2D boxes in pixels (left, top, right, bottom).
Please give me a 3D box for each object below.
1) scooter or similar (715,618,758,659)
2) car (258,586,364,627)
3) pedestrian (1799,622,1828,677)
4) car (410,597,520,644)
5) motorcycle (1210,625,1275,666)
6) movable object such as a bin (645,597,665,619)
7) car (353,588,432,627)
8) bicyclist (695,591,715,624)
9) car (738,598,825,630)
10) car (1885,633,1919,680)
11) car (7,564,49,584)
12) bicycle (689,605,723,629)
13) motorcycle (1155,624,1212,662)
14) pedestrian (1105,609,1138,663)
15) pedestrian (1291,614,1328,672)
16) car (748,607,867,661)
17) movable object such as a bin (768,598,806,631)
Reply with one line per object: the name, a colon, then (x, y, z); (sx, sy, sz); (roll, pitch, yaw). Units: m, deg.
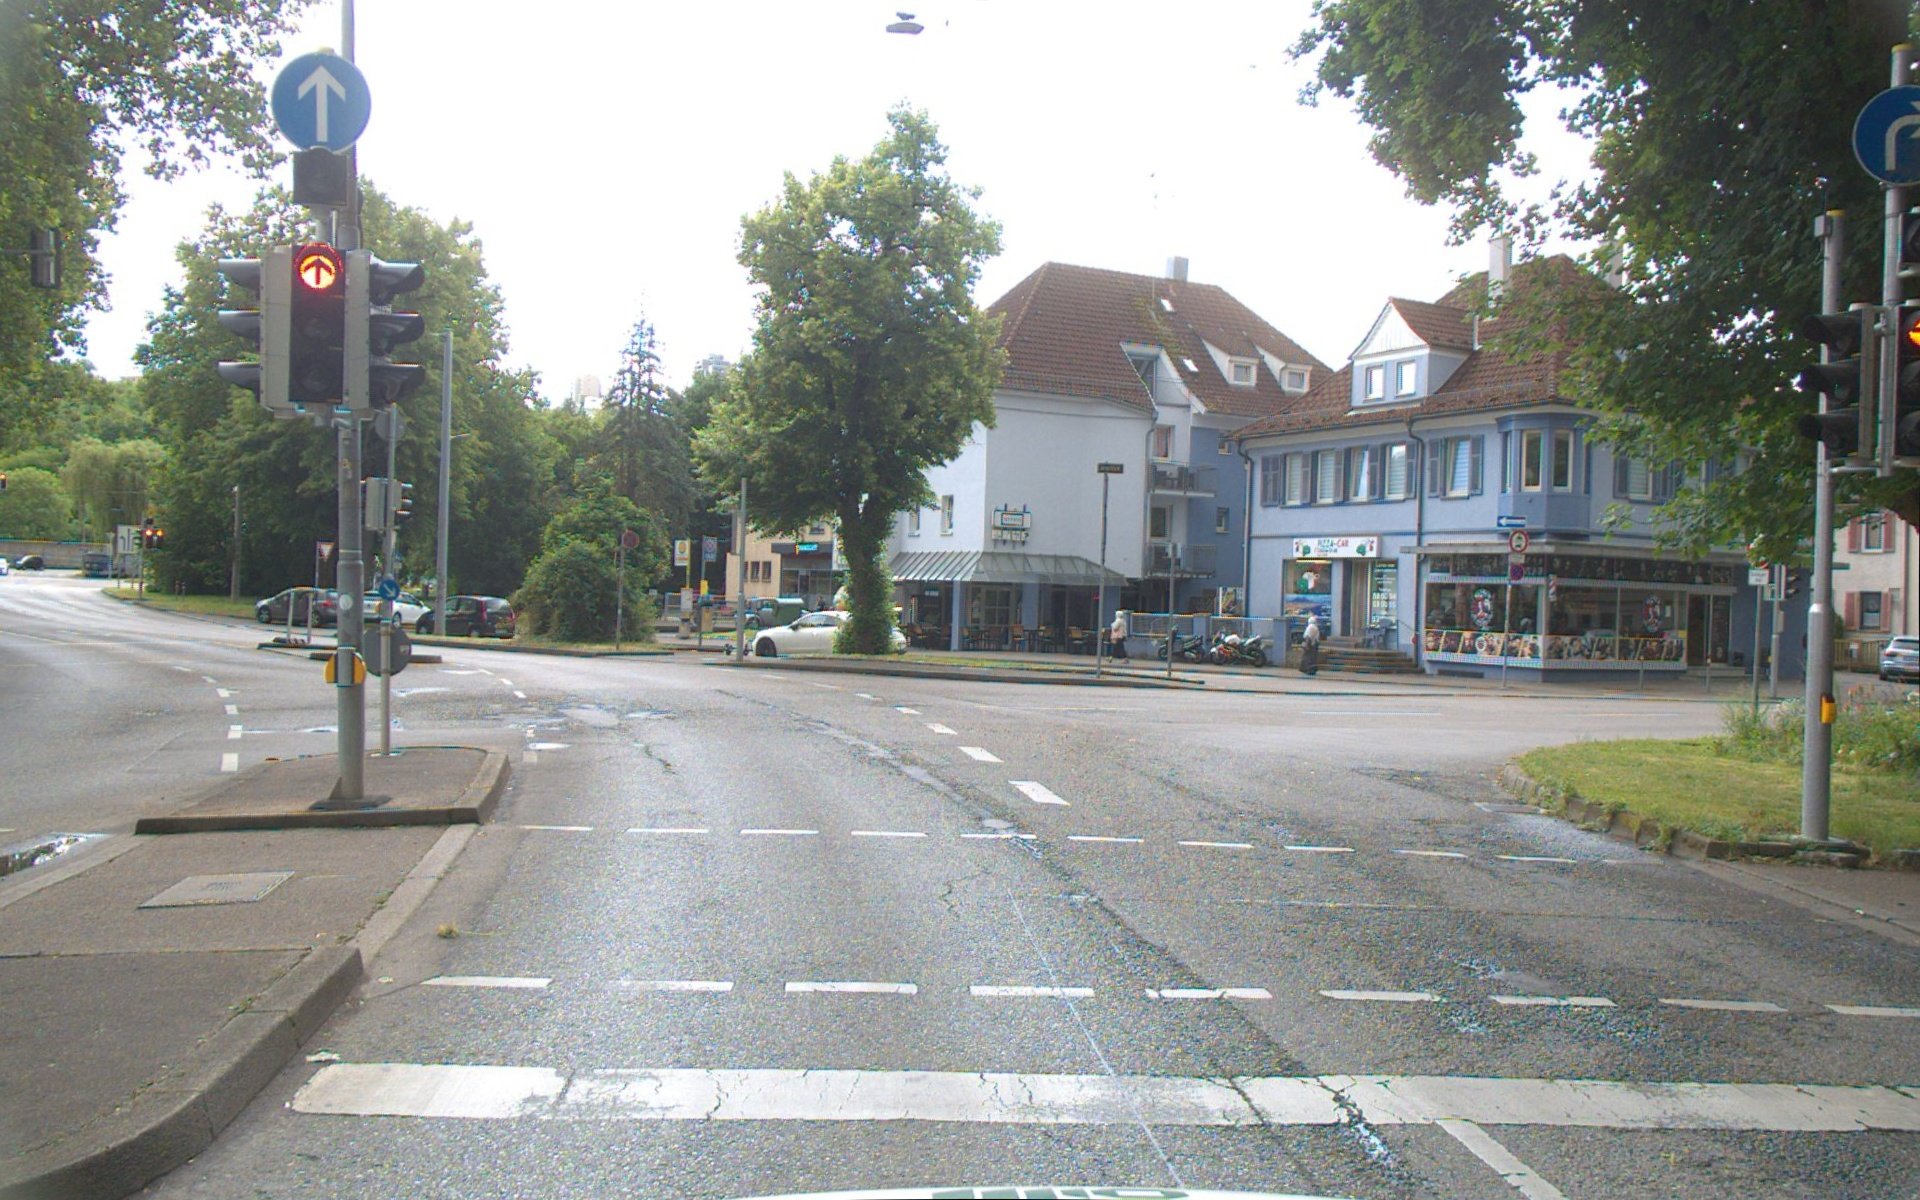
scooter or similar: (-5.731, 0.987, 42.532); (0.408, 1.029, 1.567); (1, 0, 20)
car: (-24.860, 0.251, 63.383); (3.469, 1.490, 1.586); (1, 0, 12)
pedestrian: (24.218, 1.404, 46.920); (0.451, 1.544, 0.584); (1, -1, -21)
car: (-16.008, 0.665, 53.452); (3.519, 1.418, 1.468); (1, 0, 32)
motorcycle: (8.272, 1.315, 48.471); (1.765, 1.141, 0.692); (1, 0, 38)
movable object such as a bin: (-15.855, 0.404, 85.904); (0.937, 1.135, 0.381); (1, 0, -22)
car: (-22.670, 0.313, 66.174); (1.512, 1.490, 3.398); (1, 0, 10)
bicyclist: (-12.232, 0.380, 79.446); (0.589, 1.568, 0.735); (1, 0, 42)
car: (-8.160, 0.649, 75.722); (3.690, 1.368, 1.421); (1, 0, -27)
car: (29.851, 1.743, 51.405); (1.471, 1.393, 3.164); (1, 0, 38)
car: (-102.220, -2.810, 181.478); (3.948, 2.049, 1.978); (1, 0, -32)
bicycle: (-12.195, 0.840, 79.497); (0.593, 1.131, 1.571); (1, 0, 42)
motorcycle: (6.791, 1.298, 50.227); (1.609, 1.082, 0.690); (1, 0, 44)
pedestrian: (4.832, 1.081, 49.531); (0.694, 1.572, 0.675); (1, 0, 39)
pedestrian: (9.679, 1.175, 45.825); (0.754, 1.572, 0.675); (1, -1, 38)
car: (-4.245, 0.922, 45.948); (3.110, 1.378, 1.435); (1, 0, 34)
movable object such as a bin: (-7.720, 0.665, 73.832); (1.424, 1.433, 0.959); (1, 0, -27)
